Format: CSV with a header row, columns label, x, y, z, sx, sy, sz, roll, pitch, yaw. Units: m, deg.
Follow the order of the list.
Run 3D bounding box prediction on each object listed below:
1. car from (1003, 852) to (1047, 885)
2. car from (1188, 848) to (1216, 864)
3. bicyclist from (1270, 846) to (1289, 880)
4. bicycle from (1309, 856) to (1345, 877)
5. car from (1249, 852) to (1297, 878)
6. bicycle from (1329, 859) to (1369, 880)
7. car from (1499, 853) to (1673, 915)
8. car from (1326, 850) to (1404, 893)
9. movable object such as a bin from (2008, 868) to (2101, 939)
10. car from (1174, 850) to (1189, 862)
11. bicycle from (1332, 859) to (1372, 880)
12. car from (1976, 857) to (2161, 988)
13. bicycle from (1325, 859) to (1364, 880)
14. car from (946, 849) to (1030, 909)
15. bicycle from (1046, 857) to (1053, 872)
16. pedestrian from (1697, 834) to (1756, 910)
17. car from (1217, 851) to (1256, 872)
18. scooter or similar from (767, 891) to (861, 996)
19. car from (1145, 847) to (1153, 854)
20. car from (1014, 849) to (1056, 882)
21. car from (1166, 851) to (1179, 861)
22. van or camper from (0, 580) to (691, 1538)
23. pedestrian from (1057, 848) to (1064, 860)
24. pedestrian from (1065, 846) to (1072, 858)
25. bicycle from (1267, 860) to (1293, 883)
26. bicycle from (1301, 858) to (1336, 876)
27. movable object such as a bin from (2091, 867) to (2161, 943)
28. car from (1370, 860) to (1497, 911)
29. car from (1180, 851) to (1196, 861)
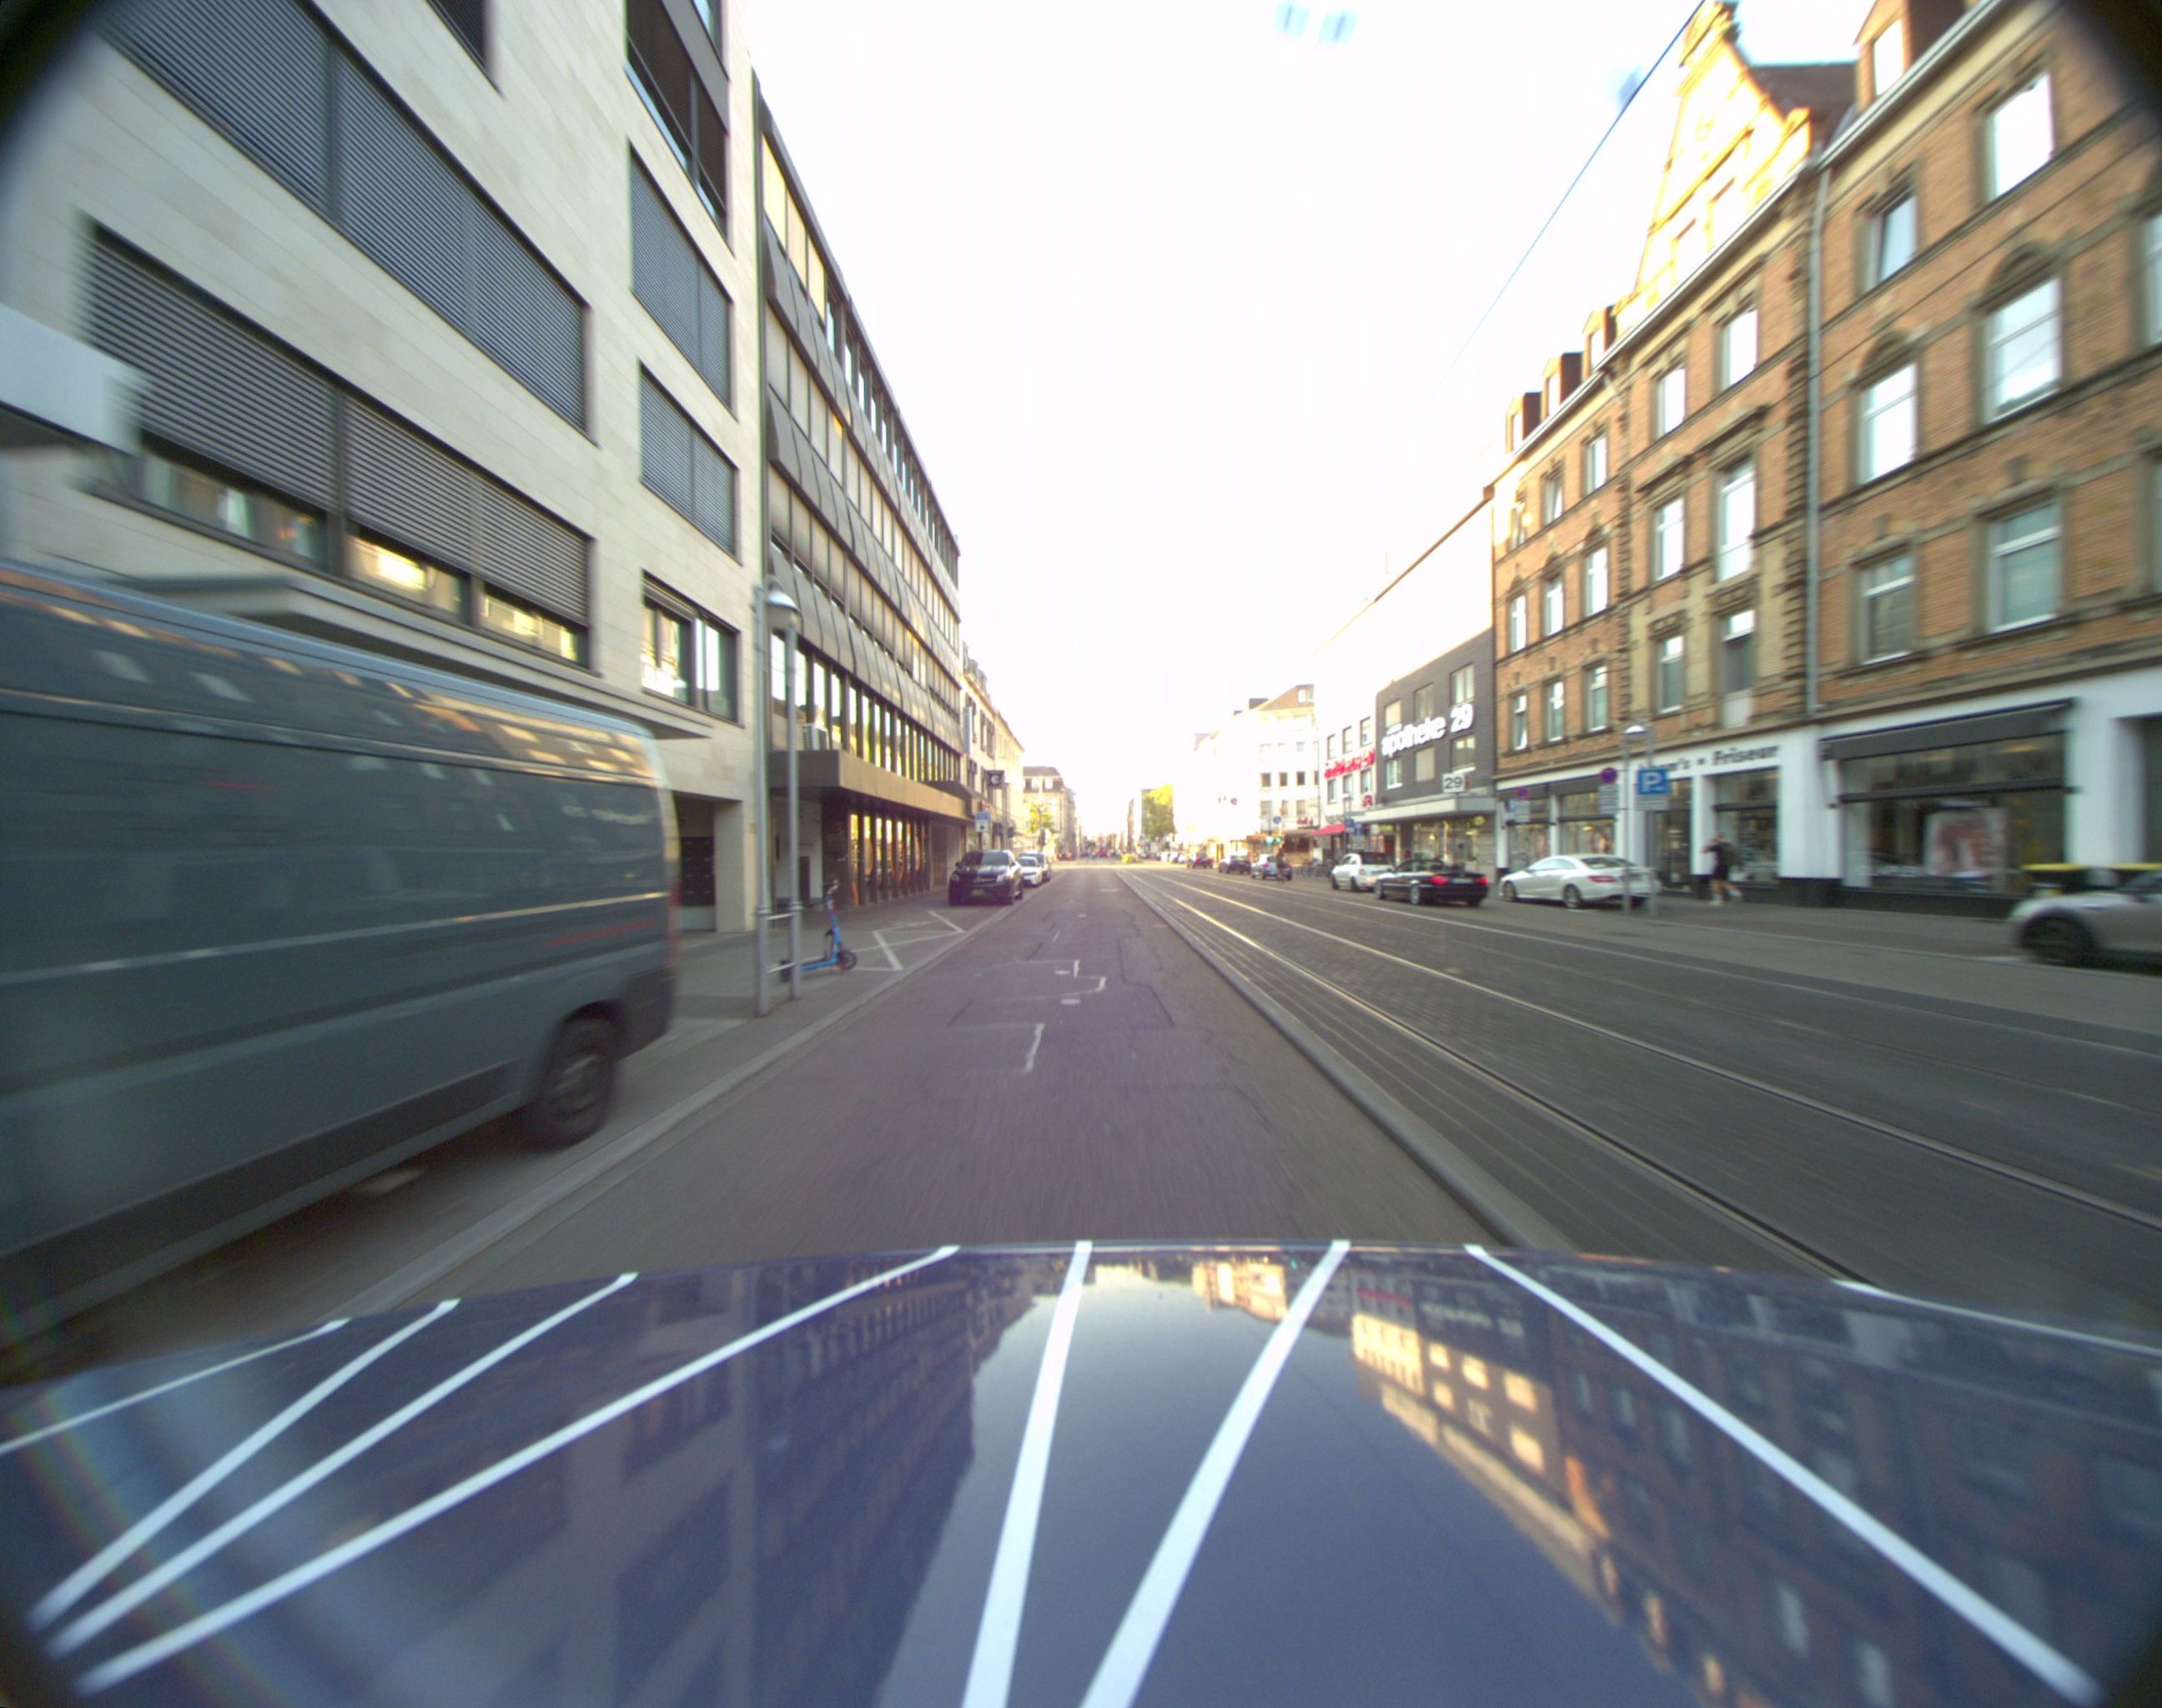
label,x,y,z,sx,sy,sz,roll,pitch,yaw
car,-2.685,0.676,37.028,1.770,1.477,3.872,1,1,1
car,10.870,0.165,68.549,1.919,1.378,4.563,1,1,2
bicyclist,9.358,0.429,35.883,0.695,1.556,0.799,-1,1,0
bicycle,14.311,0.720,44.246,1.860,1.128,0.607,-4,1,1
car,10.768,0.586,42.930,1.762,1.378,4.061,1,1,2
bicycle,14.082,0.791,39.949,1.860,0.978,0.462,-4,1,1
car,13.408,0.714,20.527,1.763,1.381,4.273,-3,0,-1
car,10.870,0.629,29.332,1.671,1.497,3.680,1,1,1
movable object such as a bin,16.077,0.806,12.562,0.591,1.125,0.729,0,1,2
car,14.319,0.321,108.558,1.847,1.626,4.001,-1,0,4
bicycle,14.074,0.785,39.433,1.860,0.978,0.462,-4,1,1
car,13.080,0.789,8.442,1.738,1.381,3.864,-3,0,2
bicycle,14.106,0.840,40.705,1.860,0.978,0.492,-4,1,1
car,-2.930,0.717,24.934,1.989,1.724,4.671,1,1,2
bicycle,-2.353,0.782,56.722,0.479,1.083,1.647,1,1,-2
pedestrian,15.505,0.418,18.268,0.649,1.762,0.855,-2,1,2
car,11.066,0.504,54.326,1.919,1.378,4.563,1,1,2
scooter or similar,-3.400,1.110,9.737,0.354,1.217,1.118,2,1,34
car,16.646,-0.899,187.352,1.847,1.626,4.001,-1,0,4
car,-2.534,0.582,43.016,1.919,1.707,4.563,1,1,2
car,14.705,0.277,122.588,1.847,1.626,4.001,-1,0,4
van or camper,-3.801,0.497,2.081,2.194,2.412,6.132,1,1,1
pedestrian,-2.783,0.054,103.869,0.806,1.603,0.993,-2,2,1
pedestrian,-1.678,-0.302,104.100,0.806,1.603,0.993,-2,2,1
bicycle,9.366,0.821,35.845,0.695,1.028,2.081,-1,1,0
bicycle,14.265,0.772,45.669,1.860,0.978,0.607,-4,1,1
movable object such as a bin,16.487,0.777,11.813,0.591,1.125,0.729,0,1,2
car,9.909,0.830,21.732,1.671,1.221,4.273,1,1,1
car,14.530,0.236,103.695,1.847,1.287,4.001,-1,0,4
